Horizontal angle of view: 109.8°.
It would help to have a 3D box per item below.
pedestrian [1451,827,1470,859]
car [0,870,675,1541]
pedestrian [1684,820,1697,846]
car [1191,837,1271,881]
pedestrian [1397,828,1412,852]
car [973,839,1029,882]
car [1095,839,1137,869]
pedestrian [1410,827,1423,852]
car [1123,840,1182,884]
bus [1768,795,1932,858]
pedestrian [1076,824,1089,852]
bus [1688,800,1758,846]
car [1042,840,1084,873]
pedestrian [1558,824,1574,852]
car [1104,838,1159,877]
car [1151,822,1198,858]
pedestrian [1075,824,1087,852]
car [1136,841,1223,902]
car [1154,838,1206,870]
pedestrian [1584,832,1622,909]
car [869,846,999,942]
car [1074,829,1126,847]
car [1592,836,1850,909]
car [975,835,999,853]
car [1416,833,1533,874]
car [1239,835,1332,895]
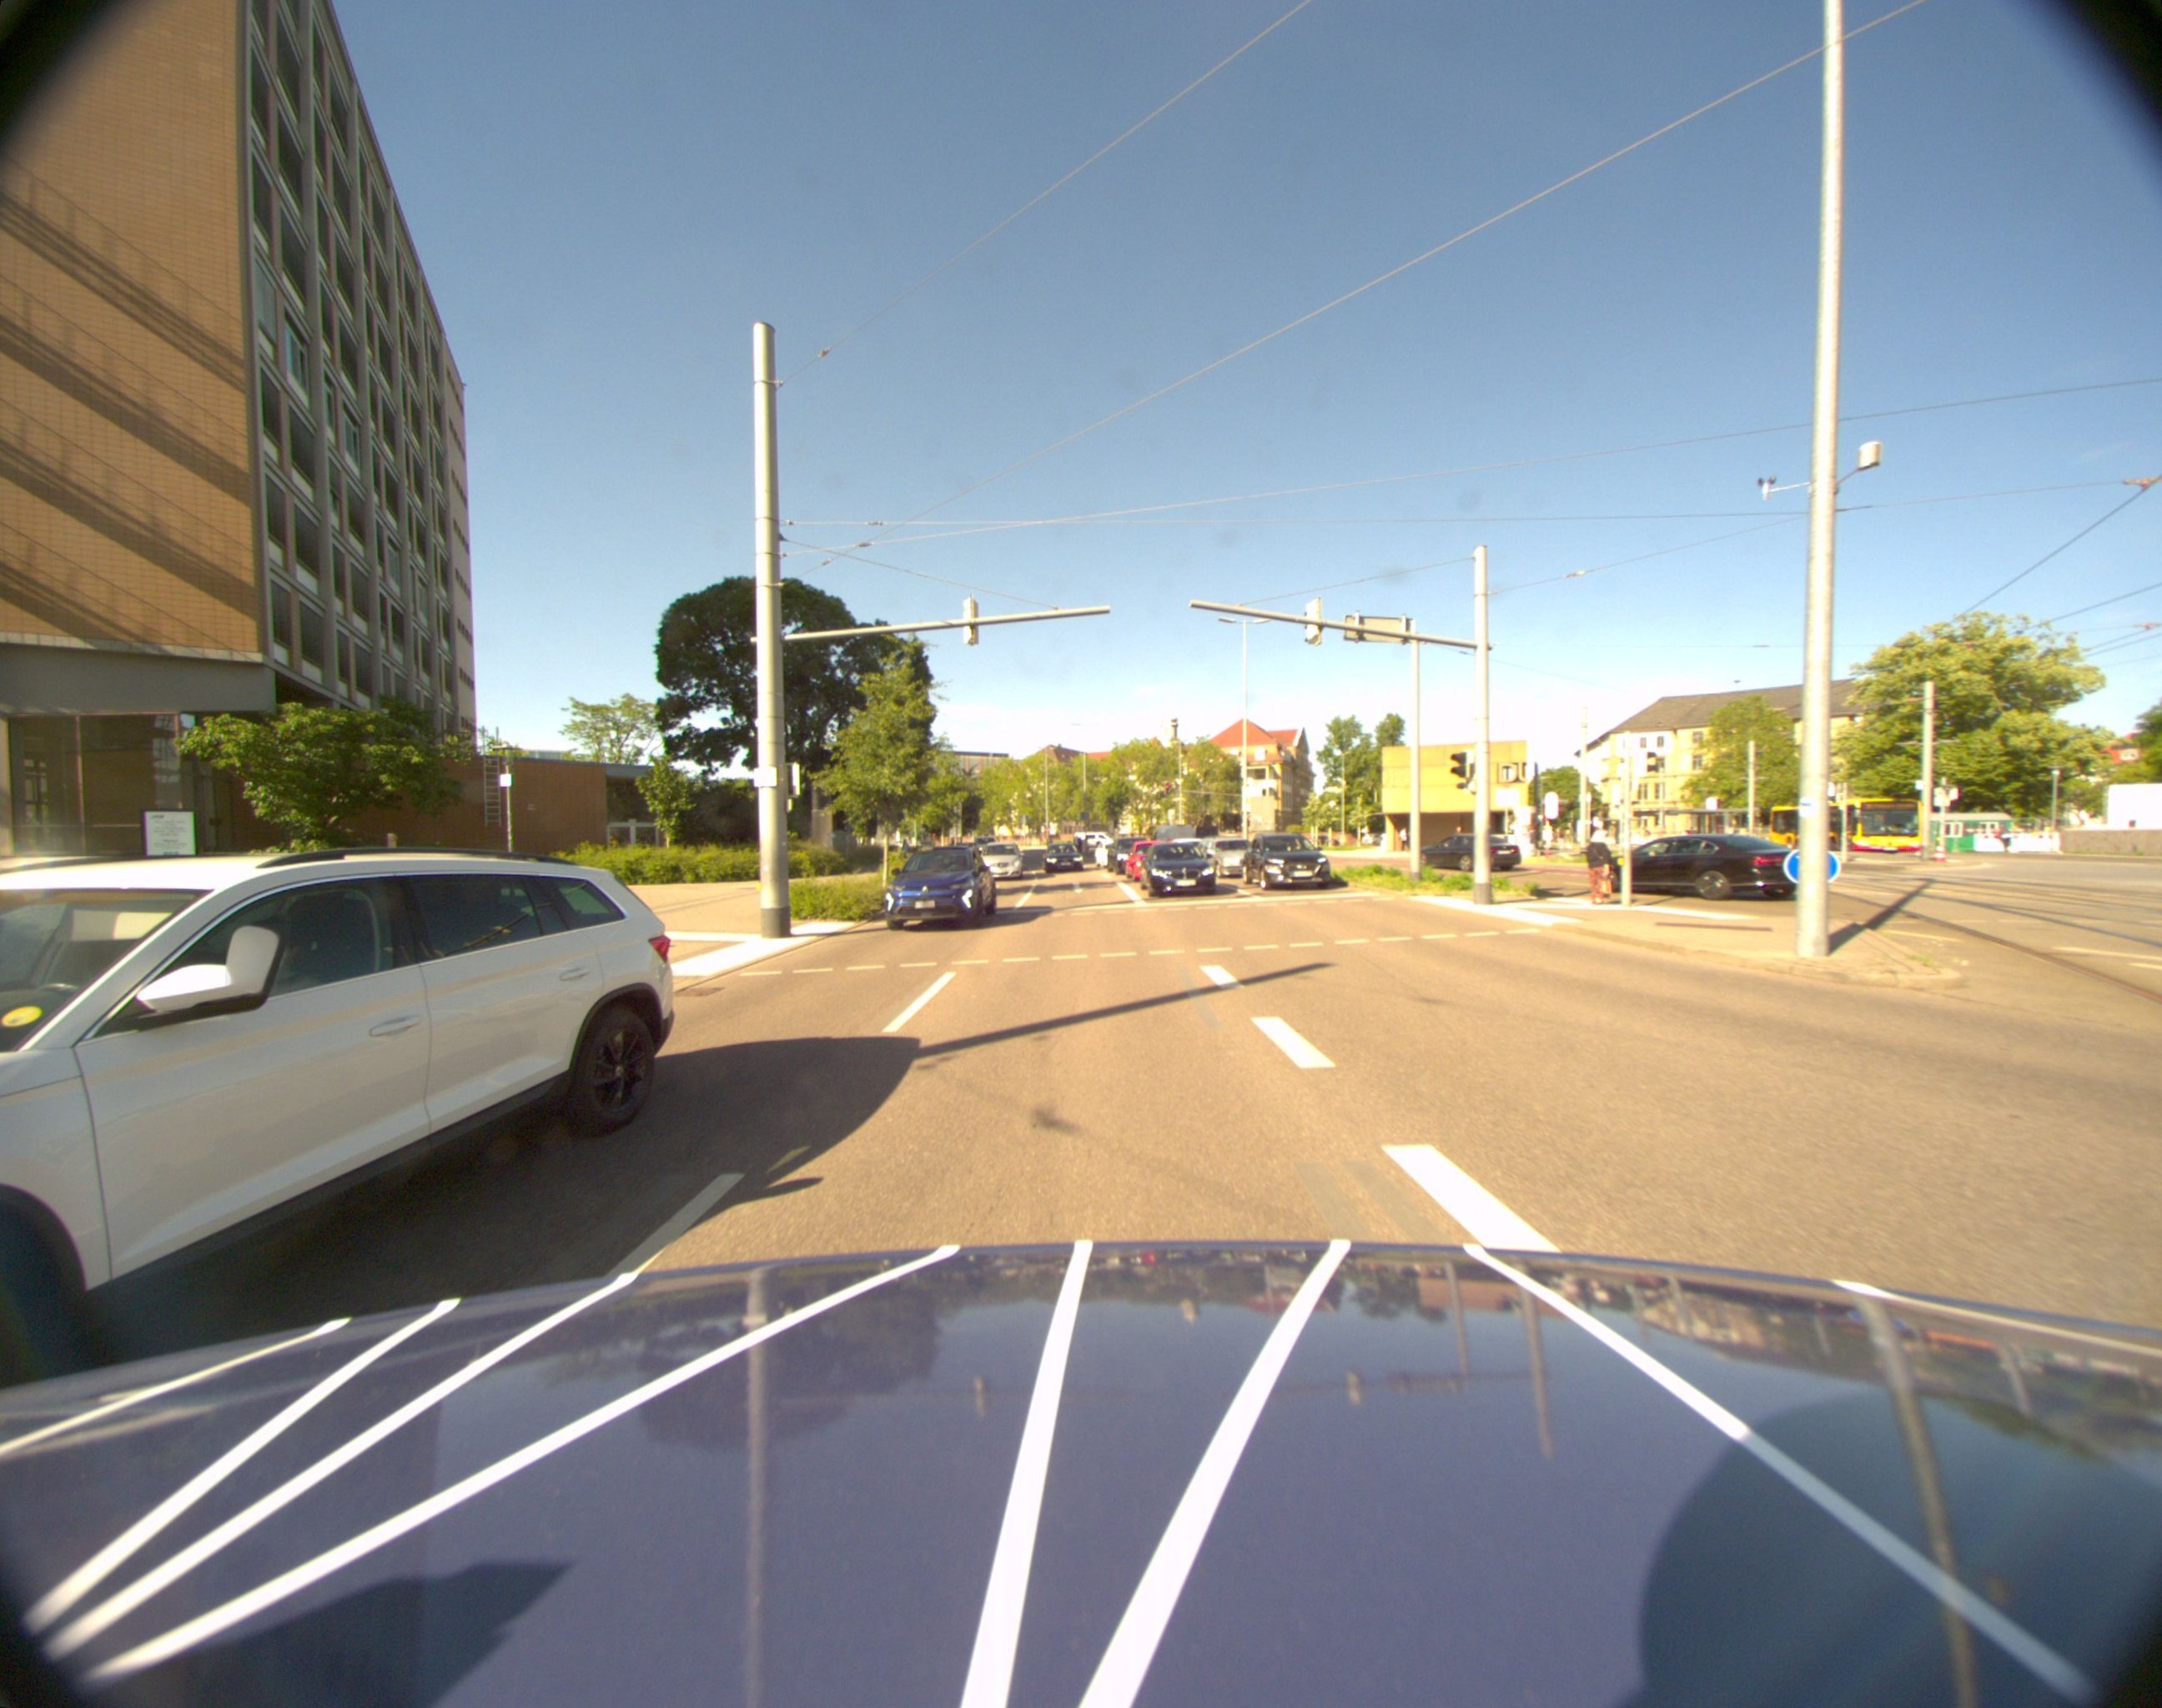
[{"bbox_3d":[22.377,-0.660,44.763,0.857,1.819,0.703,-1,2,35],"label":"pedestrian"},{"bbox_3d":[-3.692,0.965,2.845,1.868,1.635,4.397,-3,0,1],"label":"car"},{"bbox_3d":[45.475,-1.574,56.689,0.689,1.851,0.730,-1,2,30],"label":"pedestrian"},{"bbox_3d":[5.551,0.113,28.683,1.825,1.450,4.658,-3,2,-3],"label":"car"},{"bbox_3d":[23.244,-1.009,54.560,0.748,1.703,0.703,-1,3,40],"label":"pedestrian"},{"bbox_3d":[-3.318,0.221,32.192,1.886,1.621,4.011,-3,2,0],"label":"car"},{"bbox_3d":[1.869,-0.048,41.816,1.760,1.447,4.119,-3,2,-5],"label":"car"},{"bbox_3d":[23.650,-1.002,53.602,0.643,1.703,0.703,-1,3,40],"label":"pedestrian"},{"bbox_3d":[2.628,0.250,28.612,1.713,1.450,4.011,-3,2,-1],"label":"car"},{"bbox_3d":[44.604,-1.780,44.706,2.843,3.104,11.834,-2,3,25],"label":"bus"},{"bbox_3d":[0.126,-1.375,66.323,0.875,2.407,0.889,-3,2,-7],"label":"pedestrian"},{"bbox_3d":[46.760,-2.170,55.582,2.136,3.029,8.573,-1,1,28],"label":"bus"},{"bbox_3d":[-0.973,0.083,38.684,1.921,1.450,3.863,-3,2,-4],"label":"car"},{"bbox_3d":[33.017,-1.099,51.712,0.857,1.870,0.694,-1,2,34],"label":"pedestrian"},{"bbox_3d":[2.203,0.102,34.028,1.760,1.526,4.119,-3,2,-5],"label":"car"},{"bbox_3d":[7.422,-1.123,60.840,2.244,2.666,5.300,-3,2,-10],"label":"car"},{"bbox_3d":[0.024,-1.397,67.431,0.875,2.421,0.889,-3,2,-7],"label":"pedestrian"},{"bbox_3d":[2.700,0.428,21.639,1.886,1.450,4.011,-3,2,0],"label":"car"},{"bbox_3d":[5.022,-0.061,39.118,1.825,1.450,4.658,-3,2,-3],"label":"car"},{"bbox_3d":[10.716,0.322,15.597,0.372,1.547,0.644,-2,2,8],"label":"pedestrian"},{"bbox_3d":[-2.901,0.705,15.891,1.886,1.621,4.011,-3,2,0],"label":"car"},{"bbox_3d":[2.092,-1.778,84.259,5.224,1.793,2.413,-2,2,25],"label":"car"},{"bbox_3d":[14.308,0.324,17.413,1.851,1.408,4.477,-1,1,-7],"label":"car"},{"bbox_3d":[-8.254,-0.913,66.511,1.922,1.450,4.664,-3,2,-8],"label":"car"},{"bbox_3d":[15.567,-0.077,30.359,1.887,1.450,4.641,-2,1,-6],"label":"car"},{"bbox_3d":[5.852,0.238,22.229,1.686,1.523,3.914,-2,2,1],"label":"car"}]
